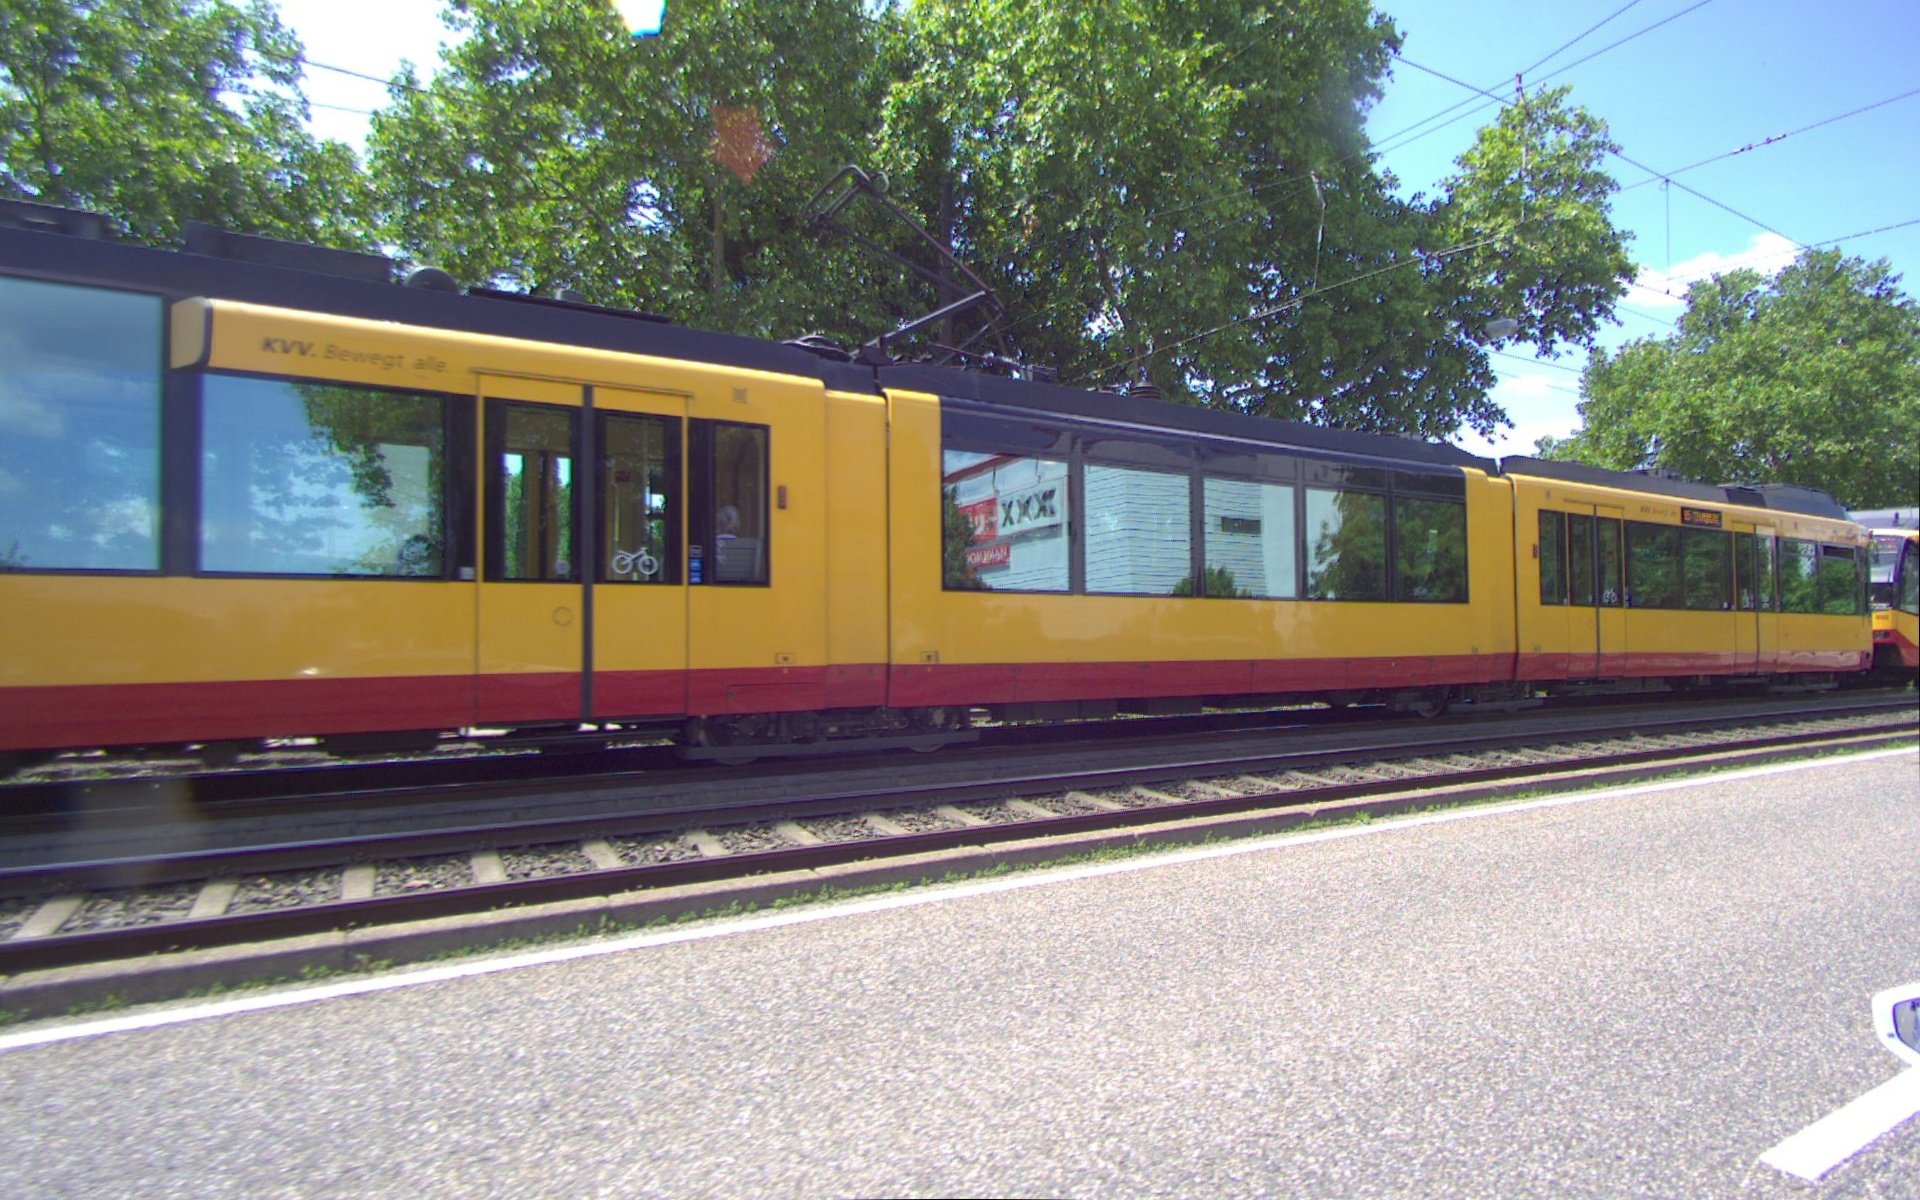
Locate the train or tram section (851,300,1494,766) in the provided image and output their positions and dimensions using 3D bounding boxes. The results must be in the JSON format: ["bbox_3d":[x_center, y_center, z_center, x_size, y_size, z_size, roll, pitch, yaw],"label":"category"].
[{"bbox_3d":[2.879,-0.557,12.624,7.907,4.324,3.034,1,0,-30],"label":"train or tram section"}]

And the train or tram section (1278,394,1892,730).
[{"bbox_3d":[11.698,-0.384,17.741,13.869,4.324,3.034,1,0,-30],"label":"train or tram section"}]

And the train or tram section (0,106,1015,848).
[{"bbox_3d":[-6.804,-0.720,6.898,15.242,4.324,3.033,1,0,-31],"label":"train or tram section"}]

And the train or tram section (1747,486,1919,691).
[{"bbox_3d":[24.815,-0.121,25.236,13.317,4.210,3.025,1,-1,-29],"label":"train or tram section"}]
